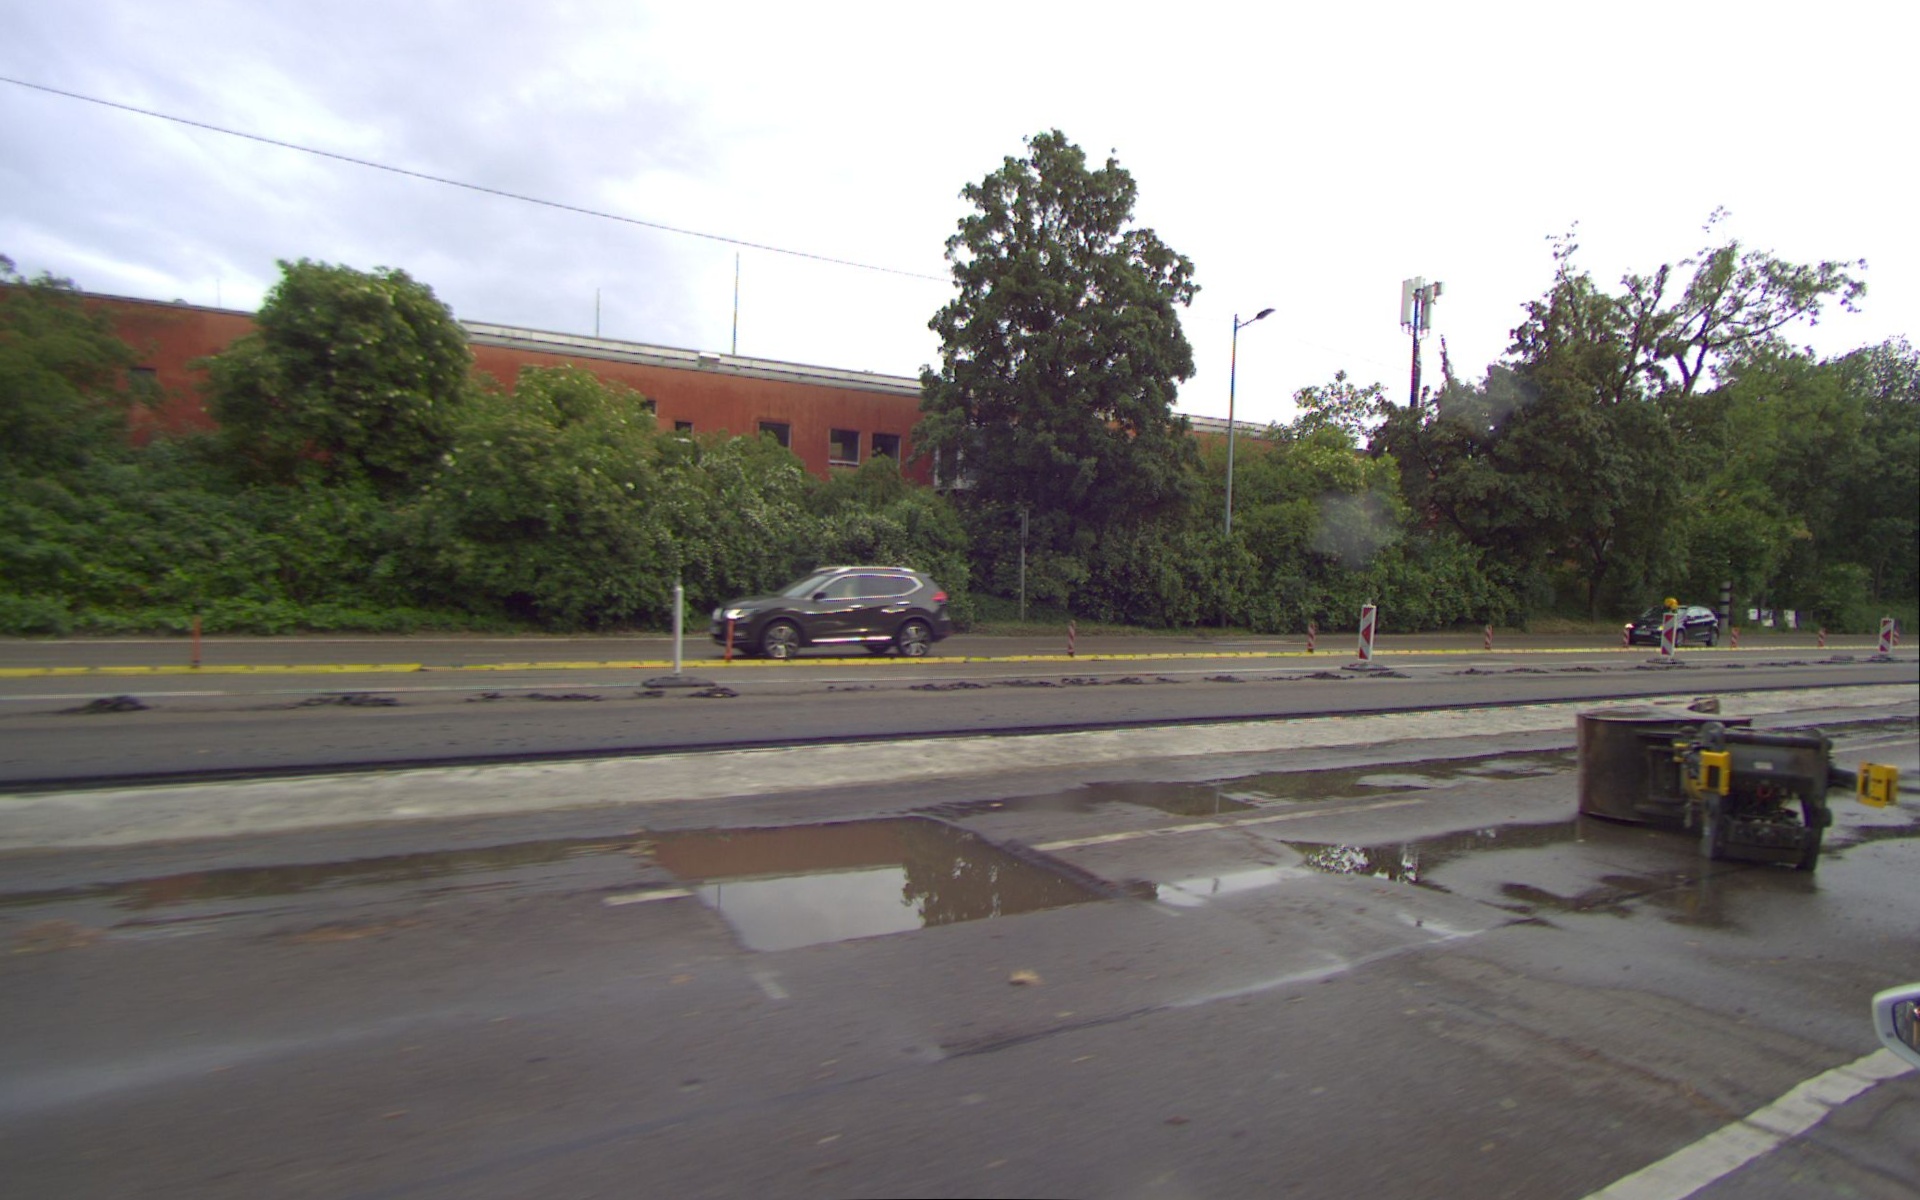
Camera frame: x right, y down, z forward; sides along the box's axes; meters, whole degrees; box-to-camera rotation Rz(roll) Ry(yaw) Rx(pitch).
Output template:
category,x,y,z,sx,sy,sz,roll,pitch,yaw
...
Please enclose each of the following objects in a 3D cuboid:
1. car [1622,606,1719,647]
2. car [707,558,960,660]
category,x,y,z,sx,sy,sz,roll,pitch,yaw
car,25.238,0.928,35.663,3.818,1.350,1.440,1,1,-32
car,-2.352,0.184,19.101,4.441,1.745,1.726,2,1,-30
